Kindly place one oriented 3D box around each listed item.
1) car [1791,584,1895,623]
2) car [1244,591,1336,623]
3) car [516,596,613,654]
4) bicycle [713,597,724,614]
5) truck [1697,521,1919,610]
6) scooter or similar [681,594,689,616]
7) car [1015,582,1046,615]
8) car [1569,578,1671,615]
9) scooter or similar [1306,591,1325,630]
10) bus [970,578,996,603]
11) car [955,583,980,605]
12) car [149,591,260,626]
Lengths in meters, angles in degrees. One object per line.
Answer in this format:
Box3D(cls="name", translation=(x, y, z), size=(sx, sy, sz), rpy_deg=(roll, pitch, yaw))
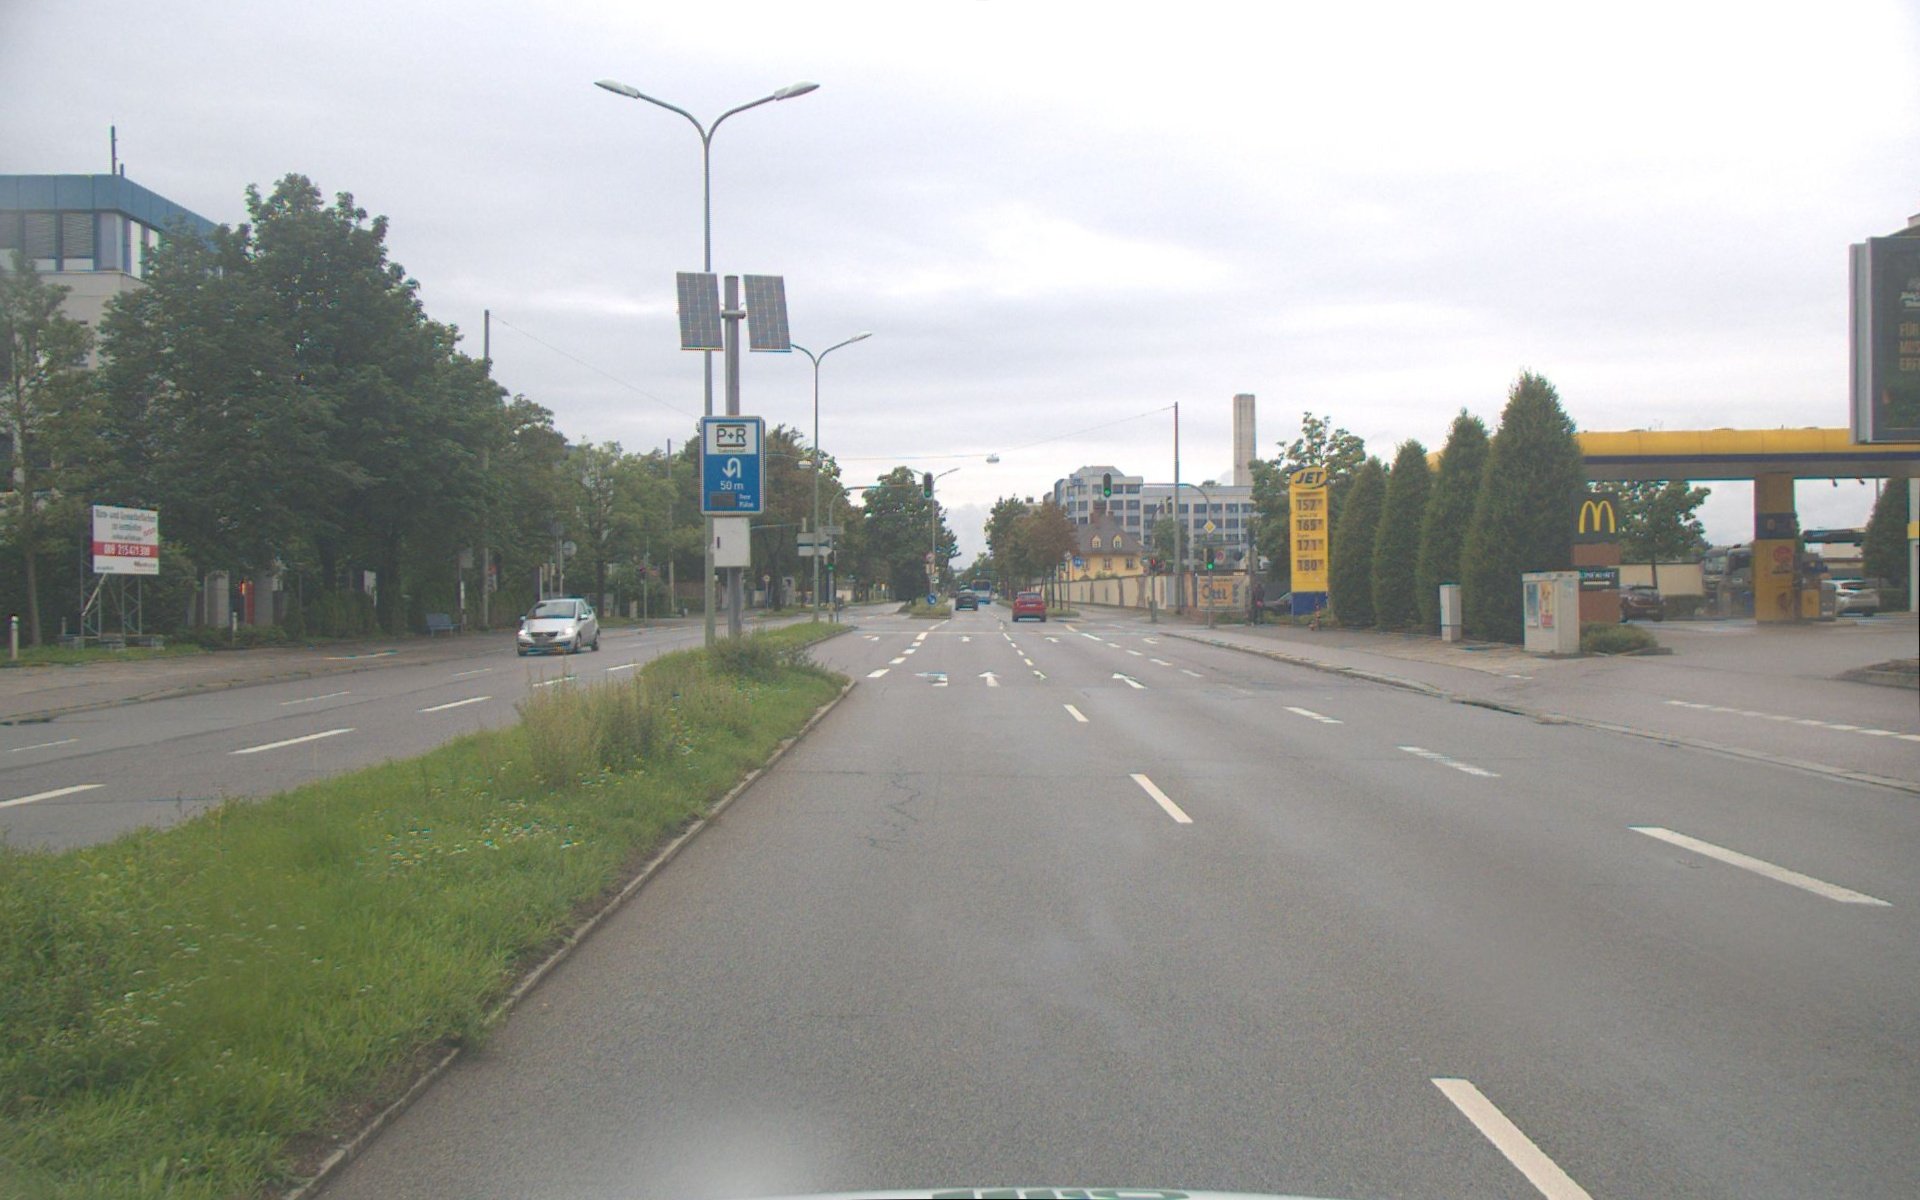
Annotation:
Box3D(cls="car", translation=(35.205, 0.122, 66.074), size=(1.864, 1.504, 4.192), rpy_deg=(0, 0, -1))
Box3D(cls="car", translation=(16.164, 0.336, 81.145), size=(4.162, 1.453, 2.001), rpy_deg=(-1, 0, 2))
Box3D(cls="car", translation=(-11.640, 0.710, 48.895), size=(1.777, 1.585, 4.027), rpy_deg=(-2, 0, 1))
Box3D(cls="bicycle", translation=(-18.731, 0.394, 128.390), size=(0.570, 1.318, 2.453), rpy_deg=(0, 0, -2))
Box3D(cls="truck", translation=(41.253, -1.647, 78.043), size=(11.650, 3.923, 2.611), rpy_deg=(-1, 0, 2))
Box3D(cls="scooter or similar", translation=(-18.117, 0.339, 109.074), size=(0.364, 1.449, 1.400), rpy_deg=(0, 0, -15))
Box3D(cls="car", translation=(3.828, -0.103, 90.312), size=(1.454, 1.745, 3.550), rpy_deg=(0, 0, -1))
Box3D(cls="car", translation=(25.838, -0.139, 64.903), size=(1.667, 1.408, 4.353), rpy_deg=(0, 0, -10))
Box3D(cls="scooter or similar", translation=(11.812, 0.343, 54.987), size=(0.348, 1.264, 1.546), rpy_deg=(-3, 0, 4))
Box3D(cls="bus", translation=(3.026, -1.250, 221.259), size=(3.155, 3.181, 10.342), rpy_deg=(0, 0, -1))
Box3D(cls="car", translation=(0.642, -0.516, 141.047), size=(2.042, 1.898, 4.385), rpy_deg=(0, 0, -1))
Box3D(cls="car", translation=(-32.142, 0.333, 70.426), size=(4.075, 1.443, 1.871), rpy_deg=(0, 0, 17))
